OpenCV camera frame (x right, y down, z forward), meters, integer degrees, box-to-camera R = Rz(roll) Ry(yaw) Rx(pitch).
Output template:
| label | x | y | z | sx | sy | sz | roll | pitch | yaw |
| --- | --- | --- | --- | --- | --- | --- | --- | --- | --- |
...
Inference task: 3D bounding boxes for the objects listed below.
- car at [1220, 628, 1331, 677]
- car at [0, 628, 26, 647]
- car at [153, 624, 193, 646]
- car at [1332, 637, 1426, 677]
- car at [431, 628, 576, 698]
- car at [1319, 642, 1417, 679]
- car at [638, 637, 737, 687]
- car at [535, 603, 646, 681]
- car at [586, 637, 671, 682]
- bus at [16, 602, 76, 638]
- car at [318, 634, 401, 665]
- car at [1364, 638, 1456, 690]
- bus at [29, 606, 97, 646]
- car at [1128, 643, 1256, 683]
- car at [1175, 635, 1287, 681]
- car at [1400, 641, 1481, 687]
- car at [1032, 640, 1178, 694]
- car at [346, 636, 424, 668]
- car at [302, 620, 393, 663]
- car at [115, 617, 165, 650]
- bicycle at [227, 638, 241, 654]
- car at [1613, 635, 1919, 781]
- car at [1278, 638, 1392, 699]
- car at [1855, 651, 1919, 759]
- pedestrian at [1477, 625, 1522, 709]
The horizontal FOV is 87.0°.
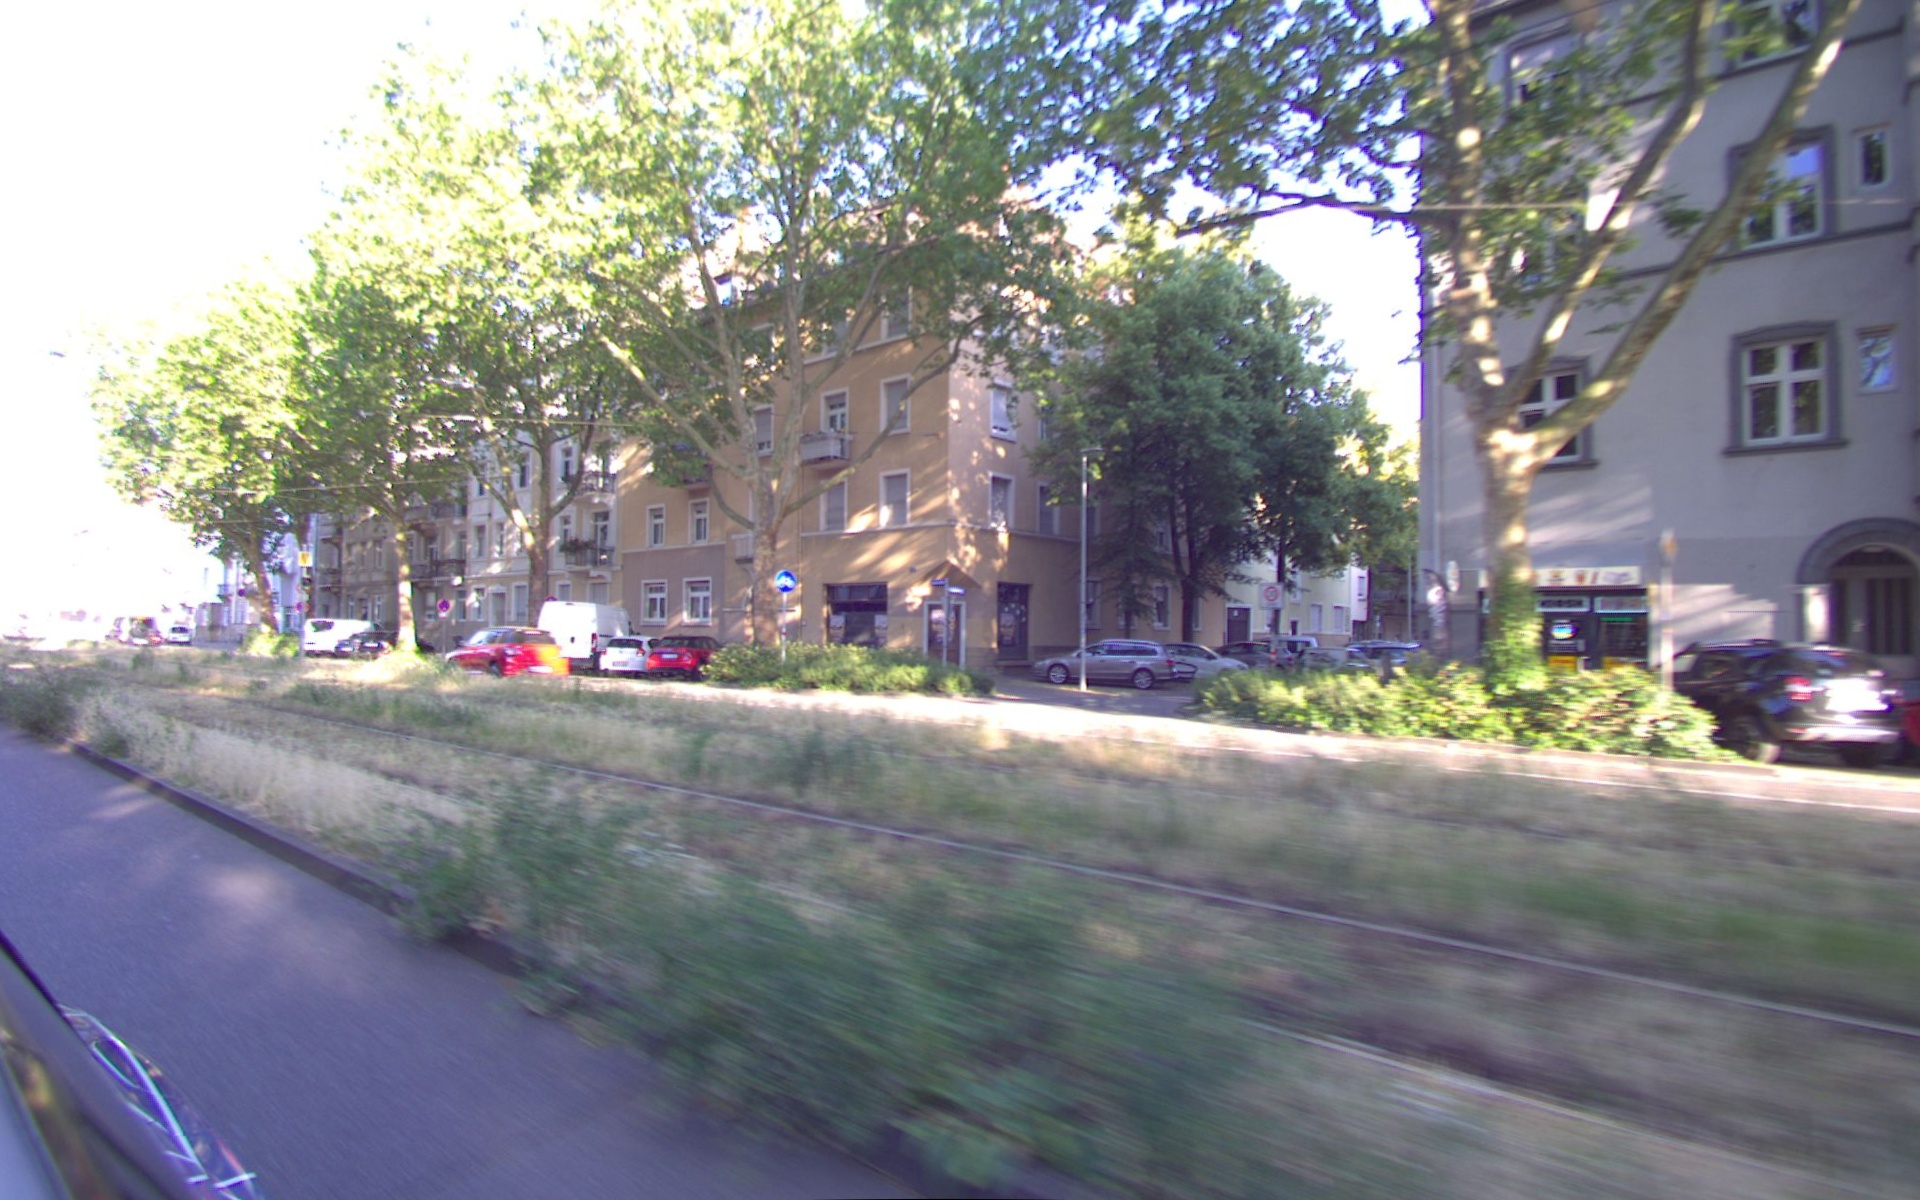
| label | x | y | z | sx | sy | sz | roll | pitch | yaw |
| --- | --- | --- | --- | --- | --- | --- | --- | --- | --- |
| car | 13.177 | 2.197 | 42.545 | 4.377 | 1.946 | 1.787 | 0 | -2 | 15 |
| car | -79.679 | 3.108 | 84.635 | 4.696 | 1.497 | 1.698 | -1 | -5 | 41 |
| car | -66.618 | 2.942 | 85.632 | 4.653 | 1.800 | 1.883 | 0 | -2 | 43 |
| car | 21.575 | 2.911 | 52.246 | 4.385 | 1.946 | 1.783 | 0 | -2 | 21 |
| car | -11.429 | 1.509 | 25.241 | 3.998 | 1.586 | 1.771 | -1 | -3 | 41 |
| car | 20.022 | 2.946 | 49.870 | 4.385 | 1.695 | 1.783 | 0 | -2 | 21 |
| car | -8.665 | 1.975 | 32.494 | 1.716 | 1.477 | 3.699 | 0 | -3 | 9 |
| car | -13.074 | 1.476 | 36.222 | 2.095 | 2.548 | 5.510 | 0 | -2 | -2 |
| car | -11.119 | 1.954 | 34.178 | 1.711 | 1.410 | 3.711 | 0 | -2 | -2 |
| bus | -89.204 | 1.938 | 98.711 | 9.896 | 3.400 | 3.230 | 0 | -2 | 42 |
| car | -29.820 | 2.431 | 50.391 | 1.697 | 1.502 | 4.177 | 0 | -2 | -2 |
| car | 14.485 | 2.008 | 32.498 | 1.812 | 1.519 | 3.948 | -1 | -2 | 38 |
| bus | -81.050 | 2.266 | 91.323 | 11.975 | 3.400 | 3.220 | 0 | -2 | 42 |
| car | 8.301 | 2.248 | 36.546 | 4.370 | 1.346 | 1.790 | 0 | -2 | 11 |
| car | 10.841 | 2.289 | 40.513 | 4.205 | 1.723 | 1.747 | 0 | -2 | 21 |
| car | 17.239 | 2.255 | 36.255 | 1.812 | 1.519 | 3.948 | -1 | -2 | 38 |
| car | 4.685 | 2.135 | 32.690 | 4.482 | 1.514 | 1.790 | 2 | -2 | 11 |
| car | -27.318 | 2.438 | 48.217 | 1.697 | 1.433 | 3.729 | 0 | -2 | -2 |
| car | -31.775 | 2.137 | 52.703 | 1.697 | 2.082 | 5.248 | 0 | -2 | -2 |
| car | -45.169 | 1.823 | 55.710 | 1.846 | 1.706 | 4.782 | 2 | -2 | -42 |
| bicycle | -53.111 | 3.371 | 74.010 | 0.747 | 1.040 | 1.899 | -5 | 2 | -36 |
| car | 11.484 | 1.405 | 14.487 | 1.760 | 1.736 | 3.997 | 1 | -1 | 2 |
| car | 10.324 | 1.810 | 27.703 | 1.812 | 1.519 | 3.948 | -1 | -2 | 38 |
| car | 13.938 | 1.446 | 12.909 | 1.564 | 1.459 | 3.997 | 1 | -1 | 2 |
| pedestrian | 11.576 | 1.426 | 21.727 | 0.620 | 1.773 | 0.673 | 3 | -3 | -44 |
